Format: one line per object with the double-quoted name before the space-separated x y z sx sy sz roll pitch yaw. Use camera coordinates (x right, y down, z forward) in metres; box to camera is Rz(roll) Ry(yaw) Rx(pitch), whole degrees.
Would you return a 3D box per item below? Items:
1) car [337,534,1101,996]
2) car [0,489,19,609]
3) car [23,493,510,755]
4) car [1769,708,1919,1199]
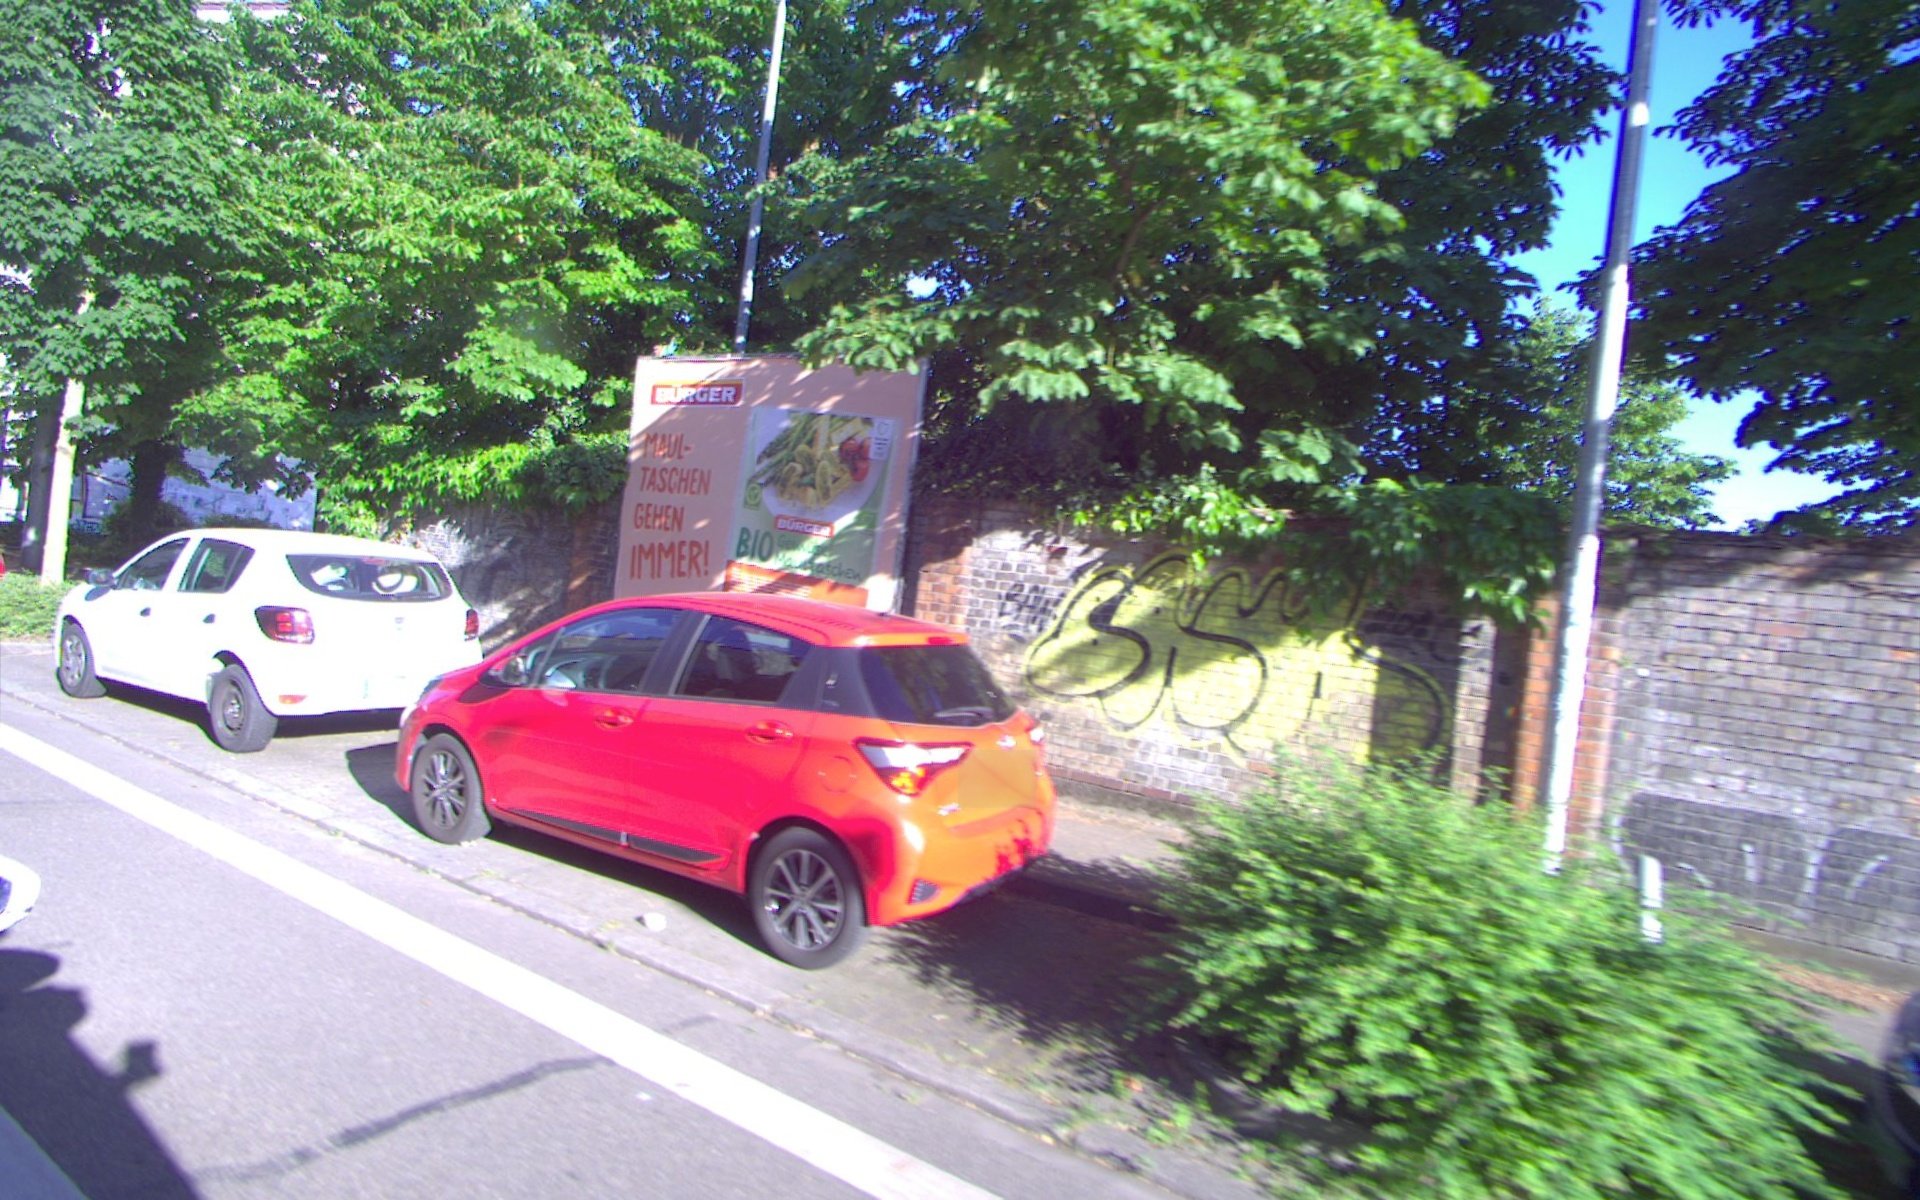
"car" -1.432 0.636 5.621 3.931 1.549 1.692 7 0 29
"car" -14.059 -0.854 13.184 3.340 1.528 1.636 7 1 31
"car" -5.795 0.110 8.318 3.932 1.549 1.691 7 0 30
"car" 4.373 1.307 2.081 3.937 1.549 1.689 7 0 35
